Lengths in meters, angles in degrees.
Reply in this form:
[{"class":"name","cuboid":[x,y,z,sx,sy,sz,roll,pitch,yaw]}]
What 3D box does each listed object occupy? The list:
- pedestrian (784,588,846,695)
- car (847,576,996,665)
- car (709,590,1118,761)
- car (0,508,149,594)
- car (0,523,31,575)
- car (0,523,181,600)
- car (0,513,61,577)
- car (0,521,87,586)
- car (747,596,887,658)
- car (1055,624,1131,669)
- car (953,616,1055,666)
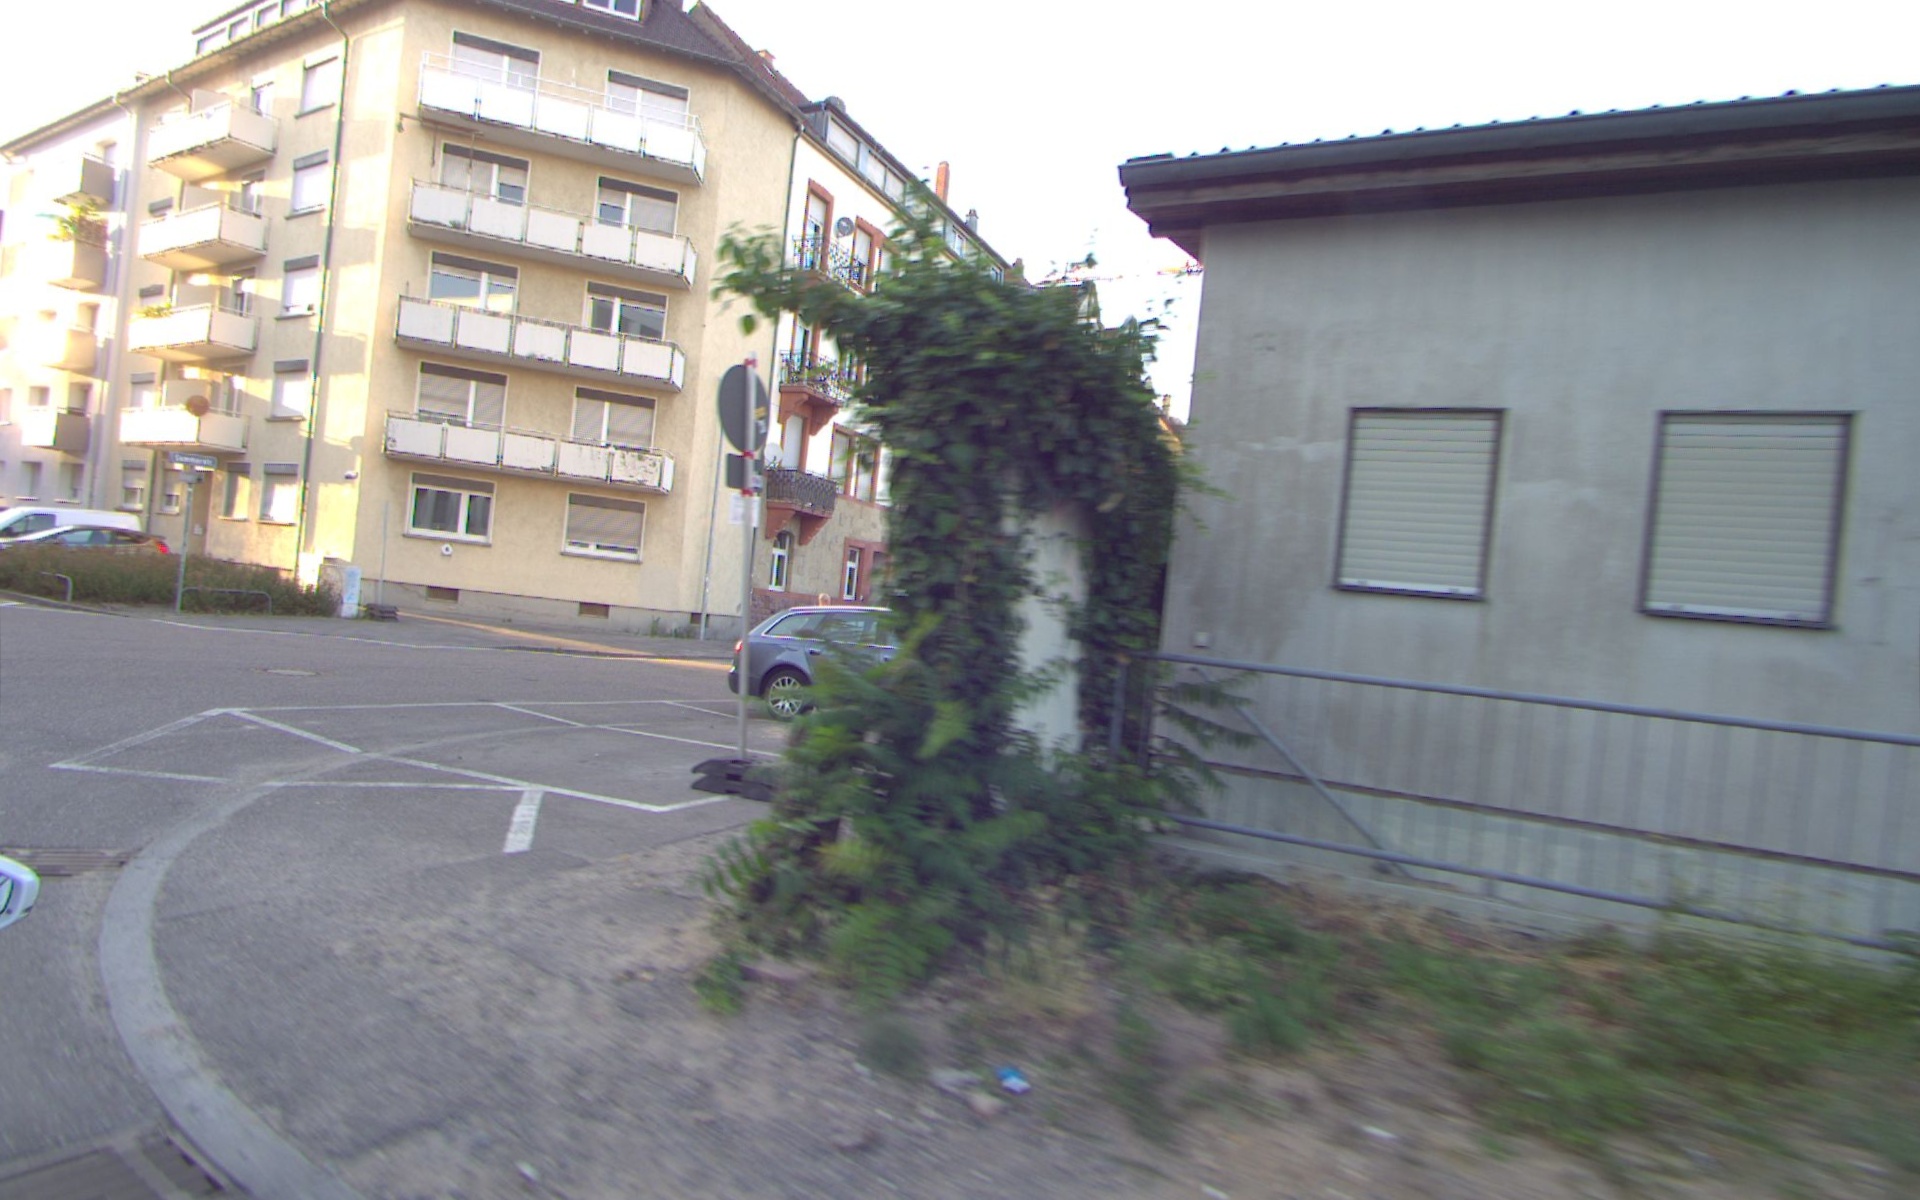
[{"class":"pedestrian","cuboid":[-2.439,0.686,16.836,0.774,1.686,0.627,7,1,-15]},{"class":"car","cuboid":[-1.188,0.820,35.045,2.193,2.561,6.029,8,0,28]},{"class":"car","cuboid":[-0.548,0.855,12.481,4.640,1.550,1.833,4,-1,18]},{"class":"car","cuboid":[-23.849,-1.307,25.841,1.713,1.883,4.284,5,-1,32]},{"class":"car","cuboid":[-29.592,-1.638,28.655,1.628,1.468,4.310,5,0,32]},{"class":"car","cuboid":[-21.978,-0.958,24.874,1.713,1.510,3.876,5,-1,32]},{"class":"car","cuboid":[-27.696,-1.652,27.877,1.628,1.717,3.792,5,1,32]},{"class":"car","cuboid":[-25.837,-1.351,26.477,1.678,1.541,3.959,6,0,32]},{"class":"car","cuboid":[-4.068,0.818,29.249,1.965,1.388,3.995,8,0,28]},{"class":"car","cuboid":[6.856,2.424,51.452,2.165,1.887,4.602,8,0,28]},{"class":"car","cuboid":[1.852,1.683,40.630,2.193,1.586,4.602,8,0,28]}]
